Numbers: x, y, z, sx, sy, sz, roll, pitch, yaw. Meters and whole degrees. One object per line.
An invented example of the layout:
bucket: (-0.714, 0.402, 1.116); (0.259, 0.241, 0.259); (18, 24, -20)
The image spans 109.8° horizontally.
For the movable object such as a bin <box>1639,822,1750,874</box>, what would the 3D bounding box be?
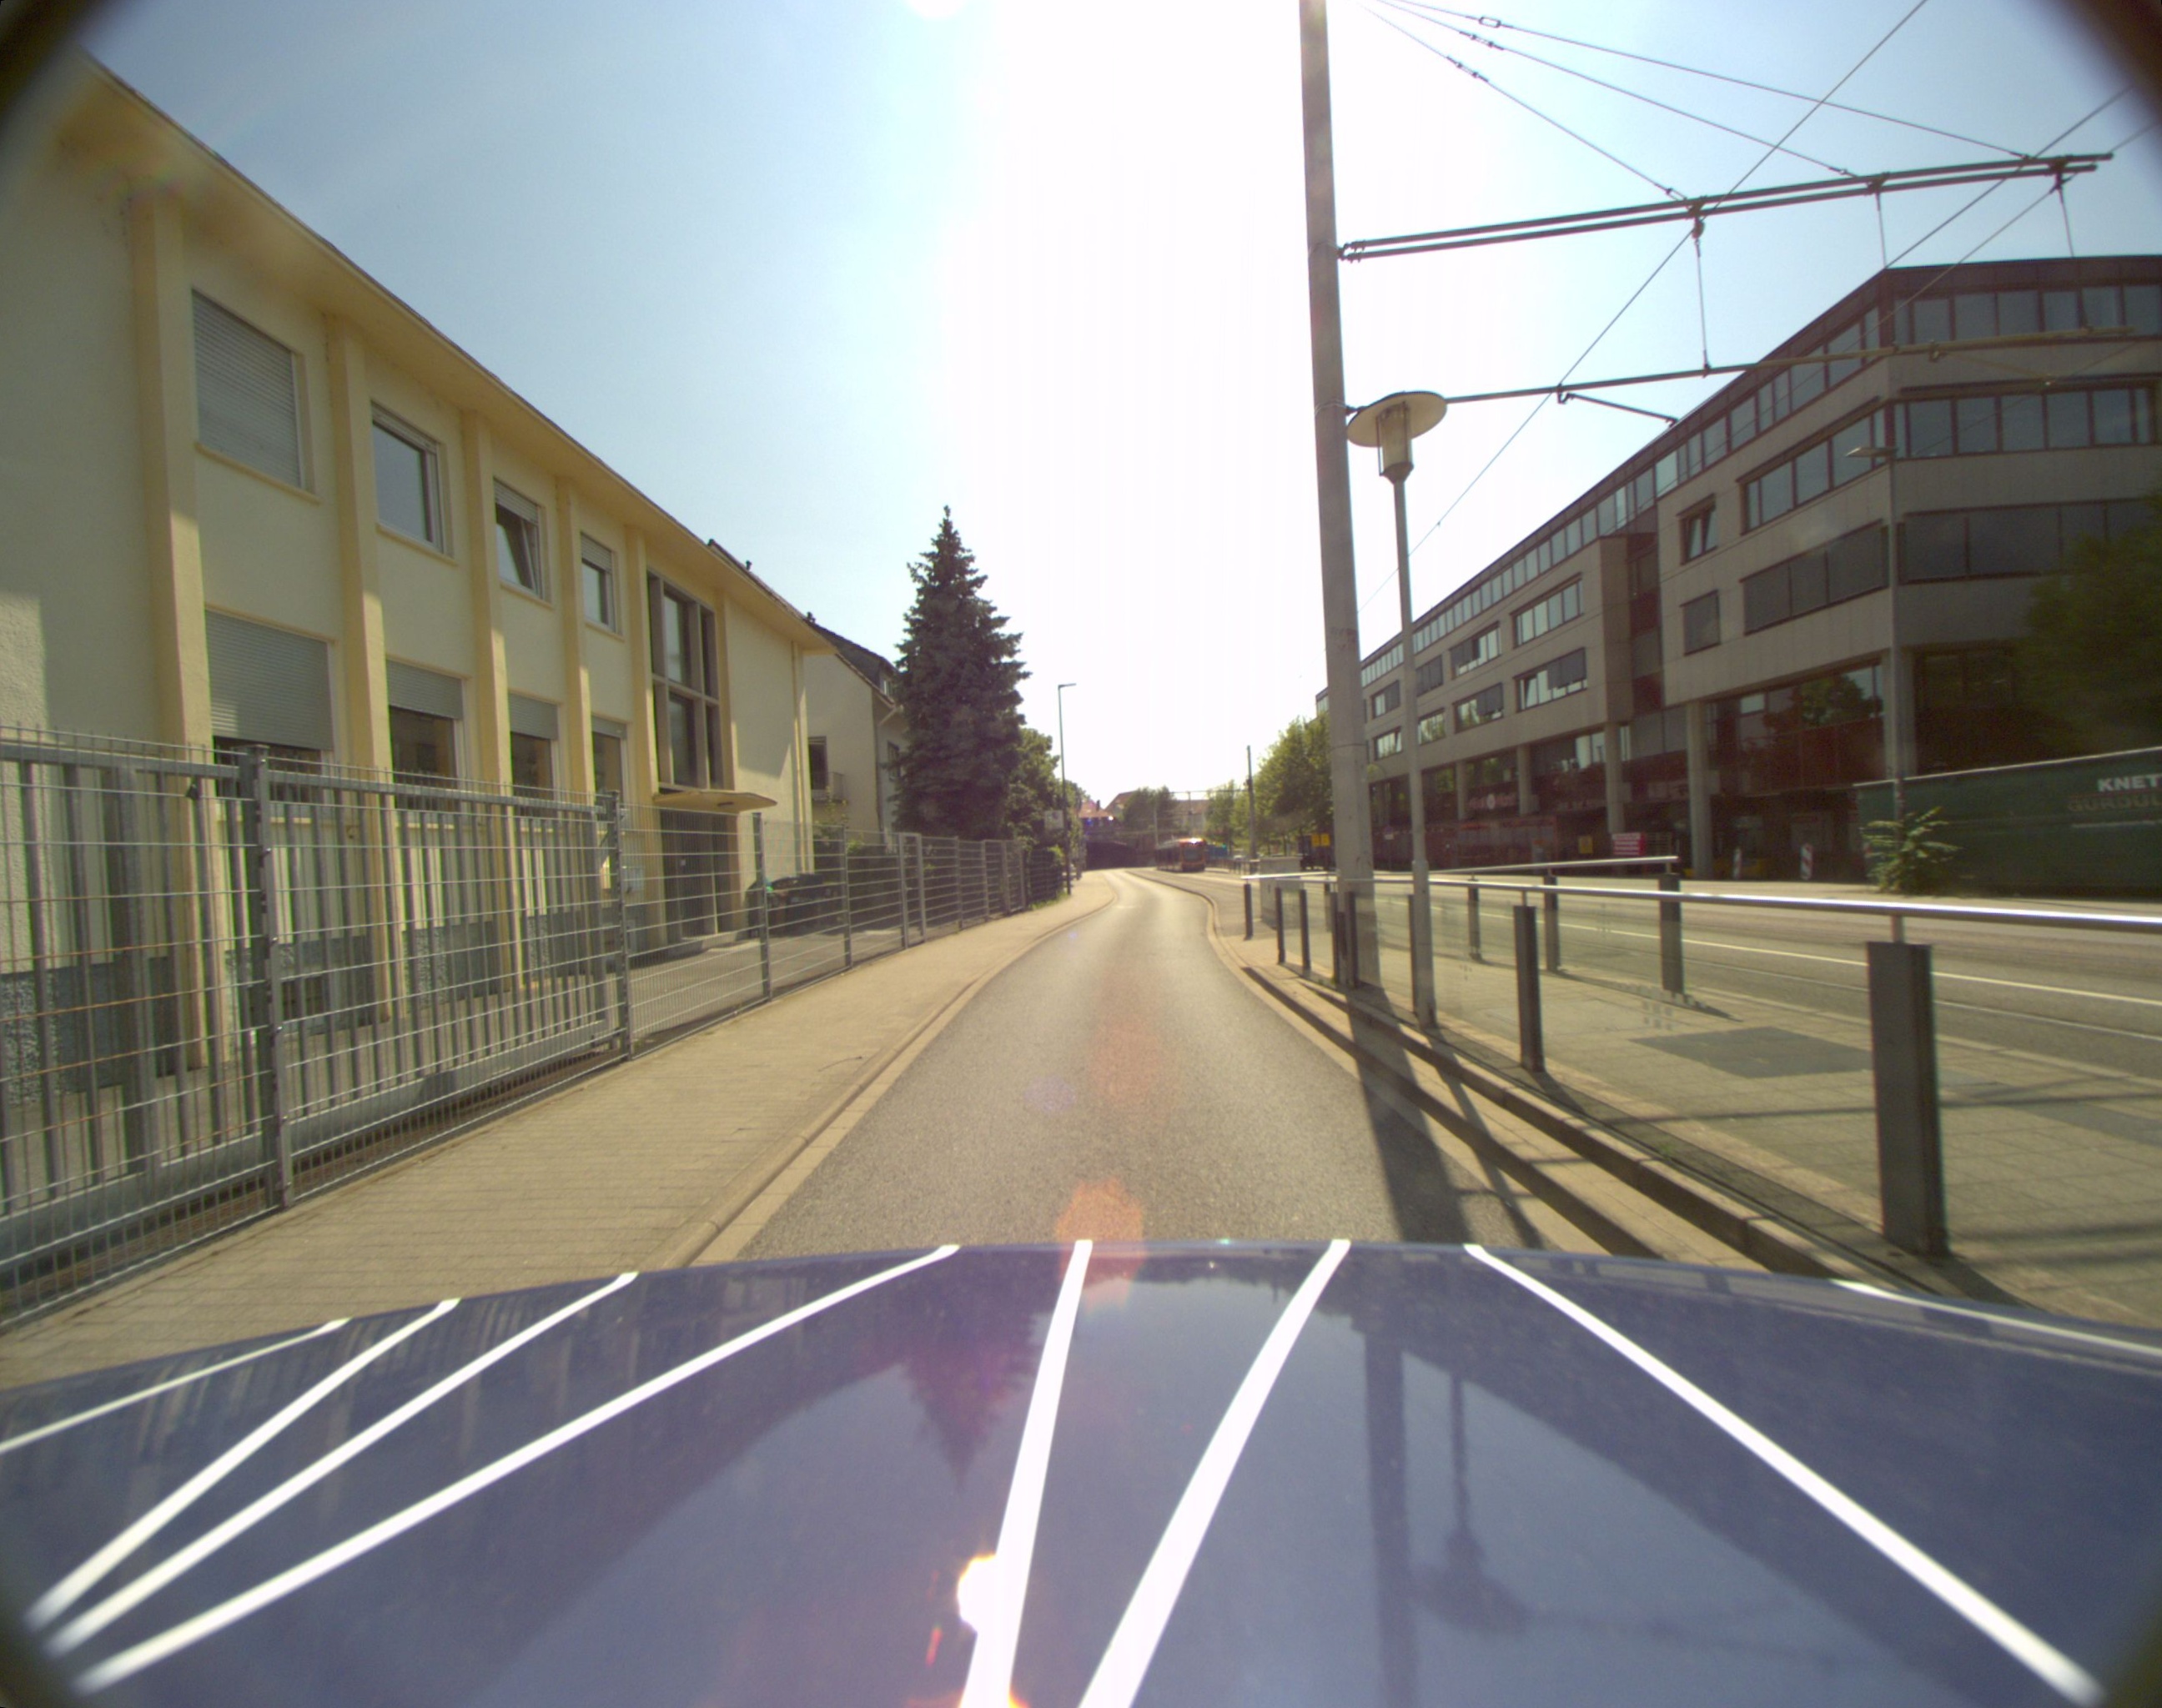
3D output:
movable object such as a bin: (26.008, -0.218, 32.308); (1.748, 2.002, 3.175); (-3, 0, -19)

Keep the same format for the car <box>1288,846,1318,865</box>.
car: (20.150, 0.121, 69.087); (1.997, 1.613, 4.002); (-2, 0, 8)

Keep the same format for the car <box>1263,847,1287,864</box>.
car: (19.571, 0.157, 76.615); (1.870, 1.608, 4.002); (-2, 0, 8)

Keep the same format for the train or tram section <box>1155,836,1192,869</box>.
train or tram section: (10.761, -0.162, 89.429); (2.680, 3.464, 13.390); (-3, 0, 1)

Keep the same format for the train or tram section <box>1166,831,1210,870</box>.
train or tram section: (10.626, -0.332, 76.662); (2.680, 3.464, 12.328); (-3, 0, 1)
